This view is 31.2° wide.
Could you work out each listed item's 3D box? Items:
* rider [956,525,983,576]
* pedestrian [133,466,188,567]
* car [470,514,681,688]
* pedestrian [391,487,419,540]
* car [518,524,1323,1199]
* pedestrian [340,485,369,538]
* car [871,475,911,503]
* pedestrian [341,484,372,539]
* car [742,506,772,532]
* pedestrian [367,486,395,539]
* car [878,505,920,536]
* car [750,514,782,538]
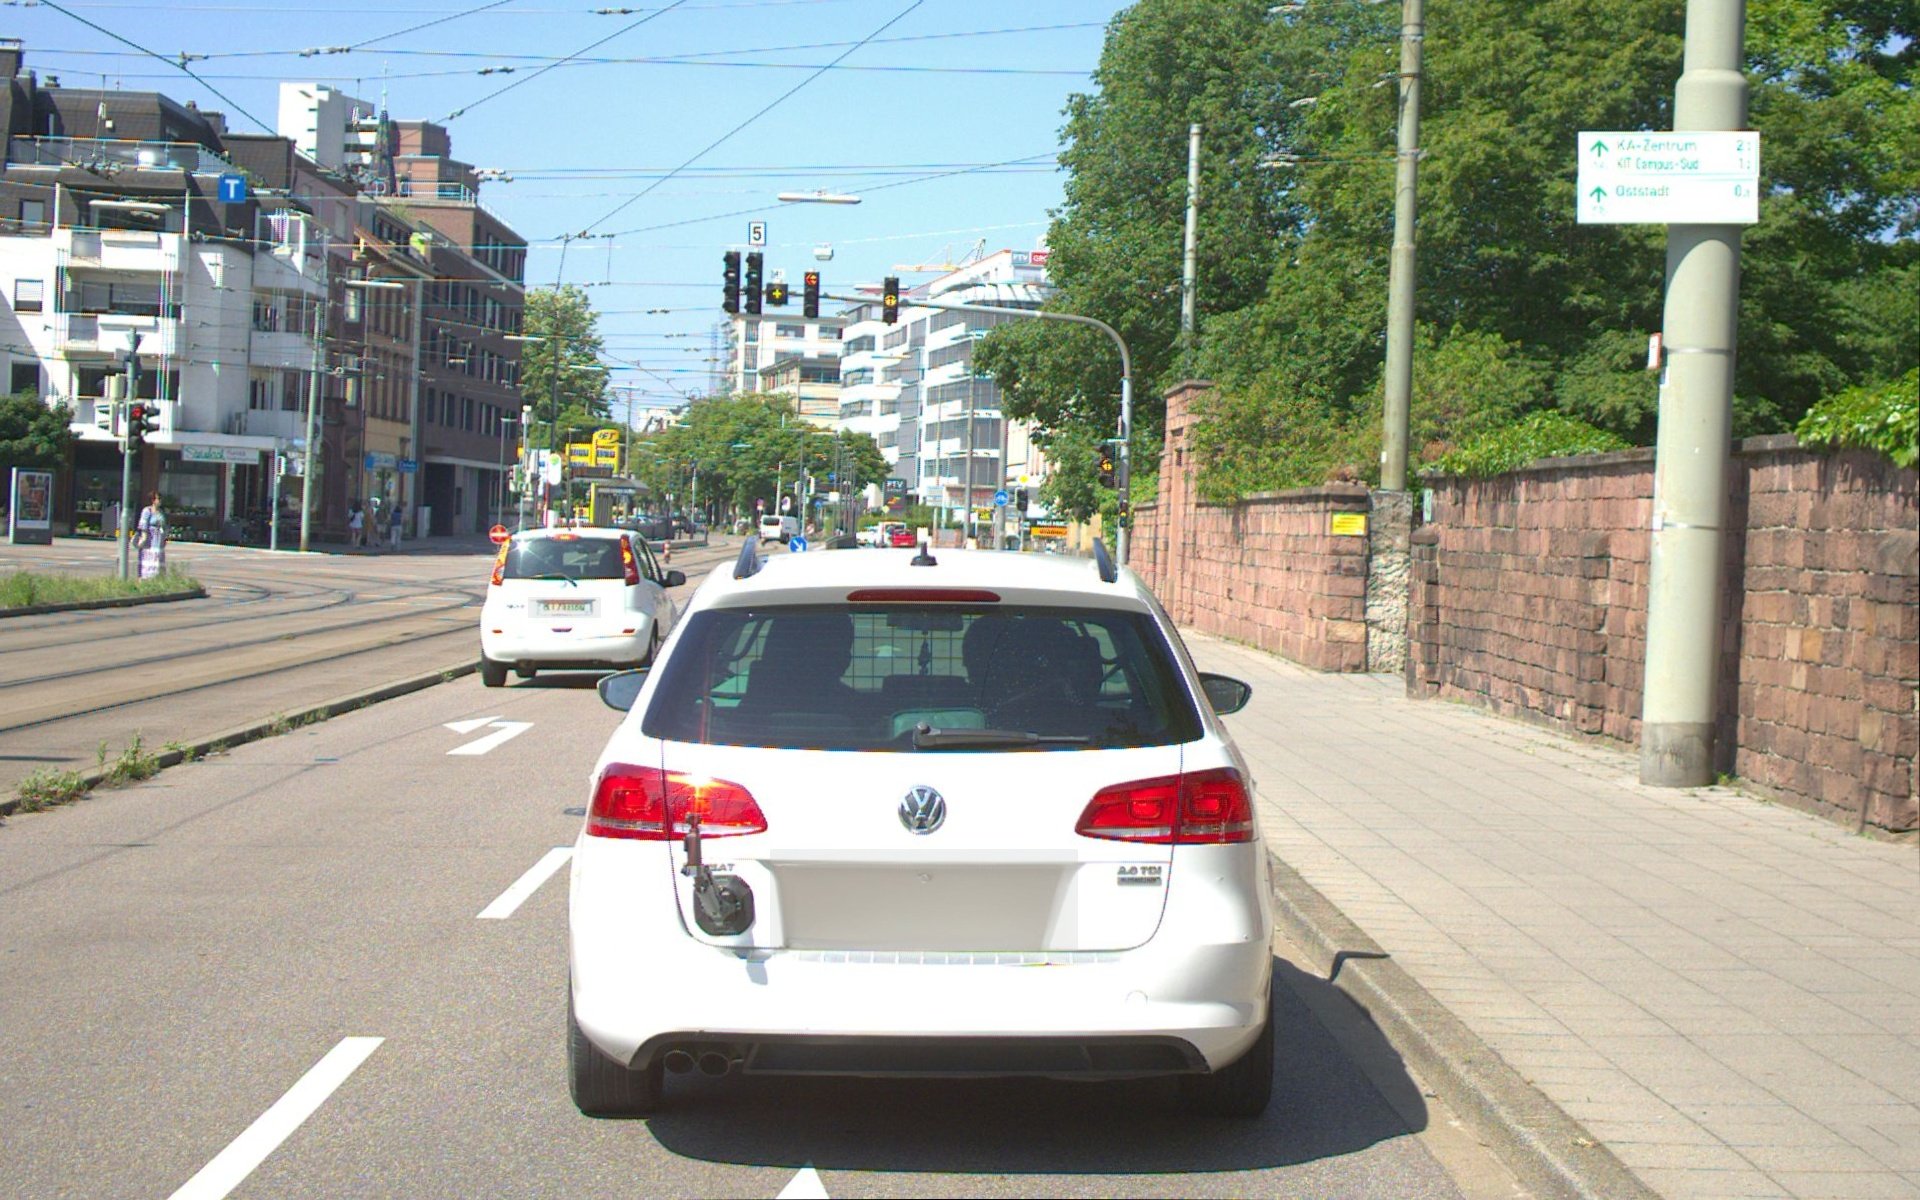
[{"bbox_3d":[0.329,-1.724,119.556,0.891,1.722,2.204,2,1,0],"label":"rider"},{"bbox_3d":[-14.103,-1.476,60.666,0.826,1.733,0.932,2,1,-8],"label":"pedestrian"},{"bbox_3d":[-3.806,-0.039,34.618,1.730,1.590,4.011,2,1,-1],"label":"car"},{"bbox_3d":[-21.247,-3.318,131.701,0.936,2.007,0.991,2,1,-6],"label":"pedestrian"},{"bbox_3d":[-0.085,0.543,9.537,1.778,1.485,3.847,0,2,0],"label":"car"},{"bbox_3d":[-23.142,-3.387,131.365,0.936,2.007,0.991,2,1,-5],"label":"pedestrian"},{"bbox_3d":[-5.081,-8.165,252.807,1.993,2.007,4.002,2,1,-14],"label":"car"},{"bbox_3d":[-22.135,-3.244,126.094,0.936,2.007,0.991,2,1,-4],"label":"pedestrian"},{"bbox_3d":[-12.534,-4.996,211.923,1.698,1.585,3.535,2,1,-2],"label":"car"},{"bbox_3d":[-22.324,-3.379,132.627,0.936,2.007,0.991,2,1,-6],"label":"pedestrian"},{"bbox_3d":[-4.234,-5.537,238.434,1.993,2.007,4.002,2,1,-14],"label":"car"},{"bbox_3d":[-13.632,-5.212,241.755,1.698,1.585,3.536,2,1,-11],"label":"car"}]
